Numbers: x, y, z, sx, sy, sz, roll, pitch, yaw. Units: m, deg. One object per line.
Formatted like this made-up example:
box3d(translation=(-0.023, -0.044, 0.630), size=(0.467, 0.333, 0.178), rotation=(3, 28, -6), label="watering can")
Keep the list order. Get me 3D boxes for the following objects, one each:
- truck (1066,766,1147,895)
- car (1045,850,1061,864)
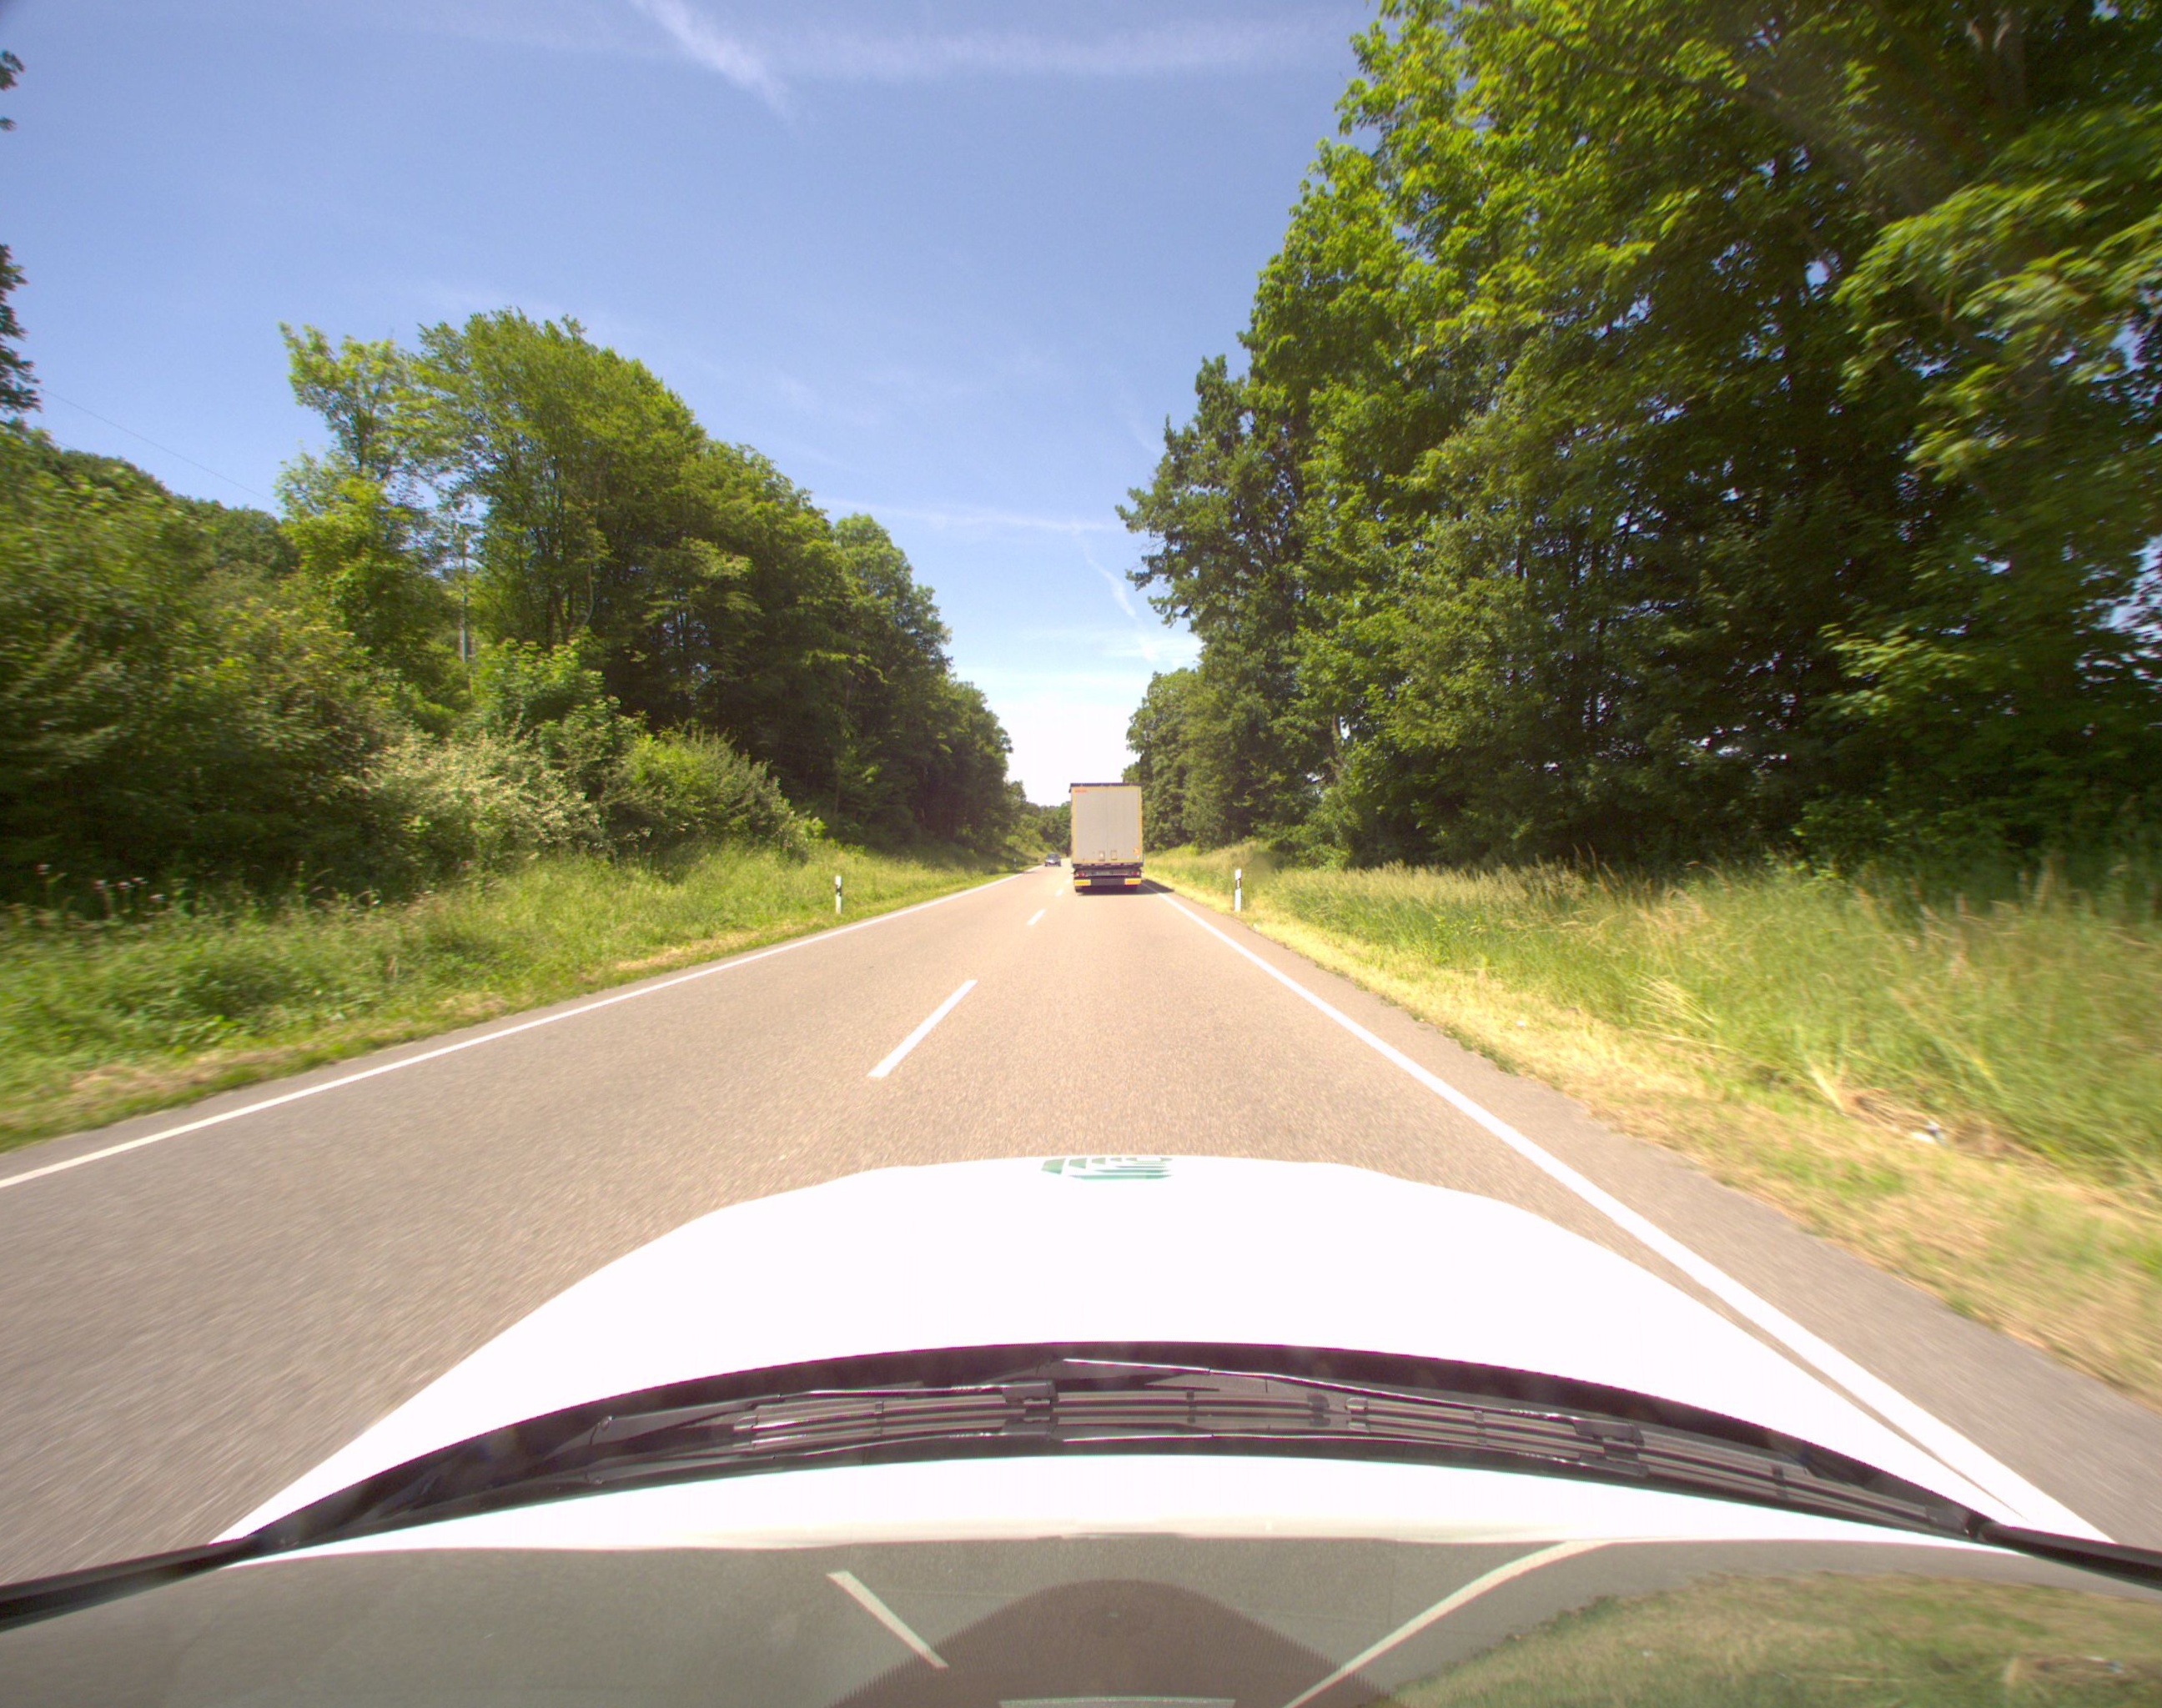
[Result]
box3d(translation=(0.888, -0.836, 34.535), size=(2.808, 4.532, 11.765), rotation=(-1, 0, 0), label="truck")
box3d(translation=(-3.217, 0.363, 94.248), size=(1.767, 1.570, 4.215), rotation=(-1, 0, -2), label="car")
